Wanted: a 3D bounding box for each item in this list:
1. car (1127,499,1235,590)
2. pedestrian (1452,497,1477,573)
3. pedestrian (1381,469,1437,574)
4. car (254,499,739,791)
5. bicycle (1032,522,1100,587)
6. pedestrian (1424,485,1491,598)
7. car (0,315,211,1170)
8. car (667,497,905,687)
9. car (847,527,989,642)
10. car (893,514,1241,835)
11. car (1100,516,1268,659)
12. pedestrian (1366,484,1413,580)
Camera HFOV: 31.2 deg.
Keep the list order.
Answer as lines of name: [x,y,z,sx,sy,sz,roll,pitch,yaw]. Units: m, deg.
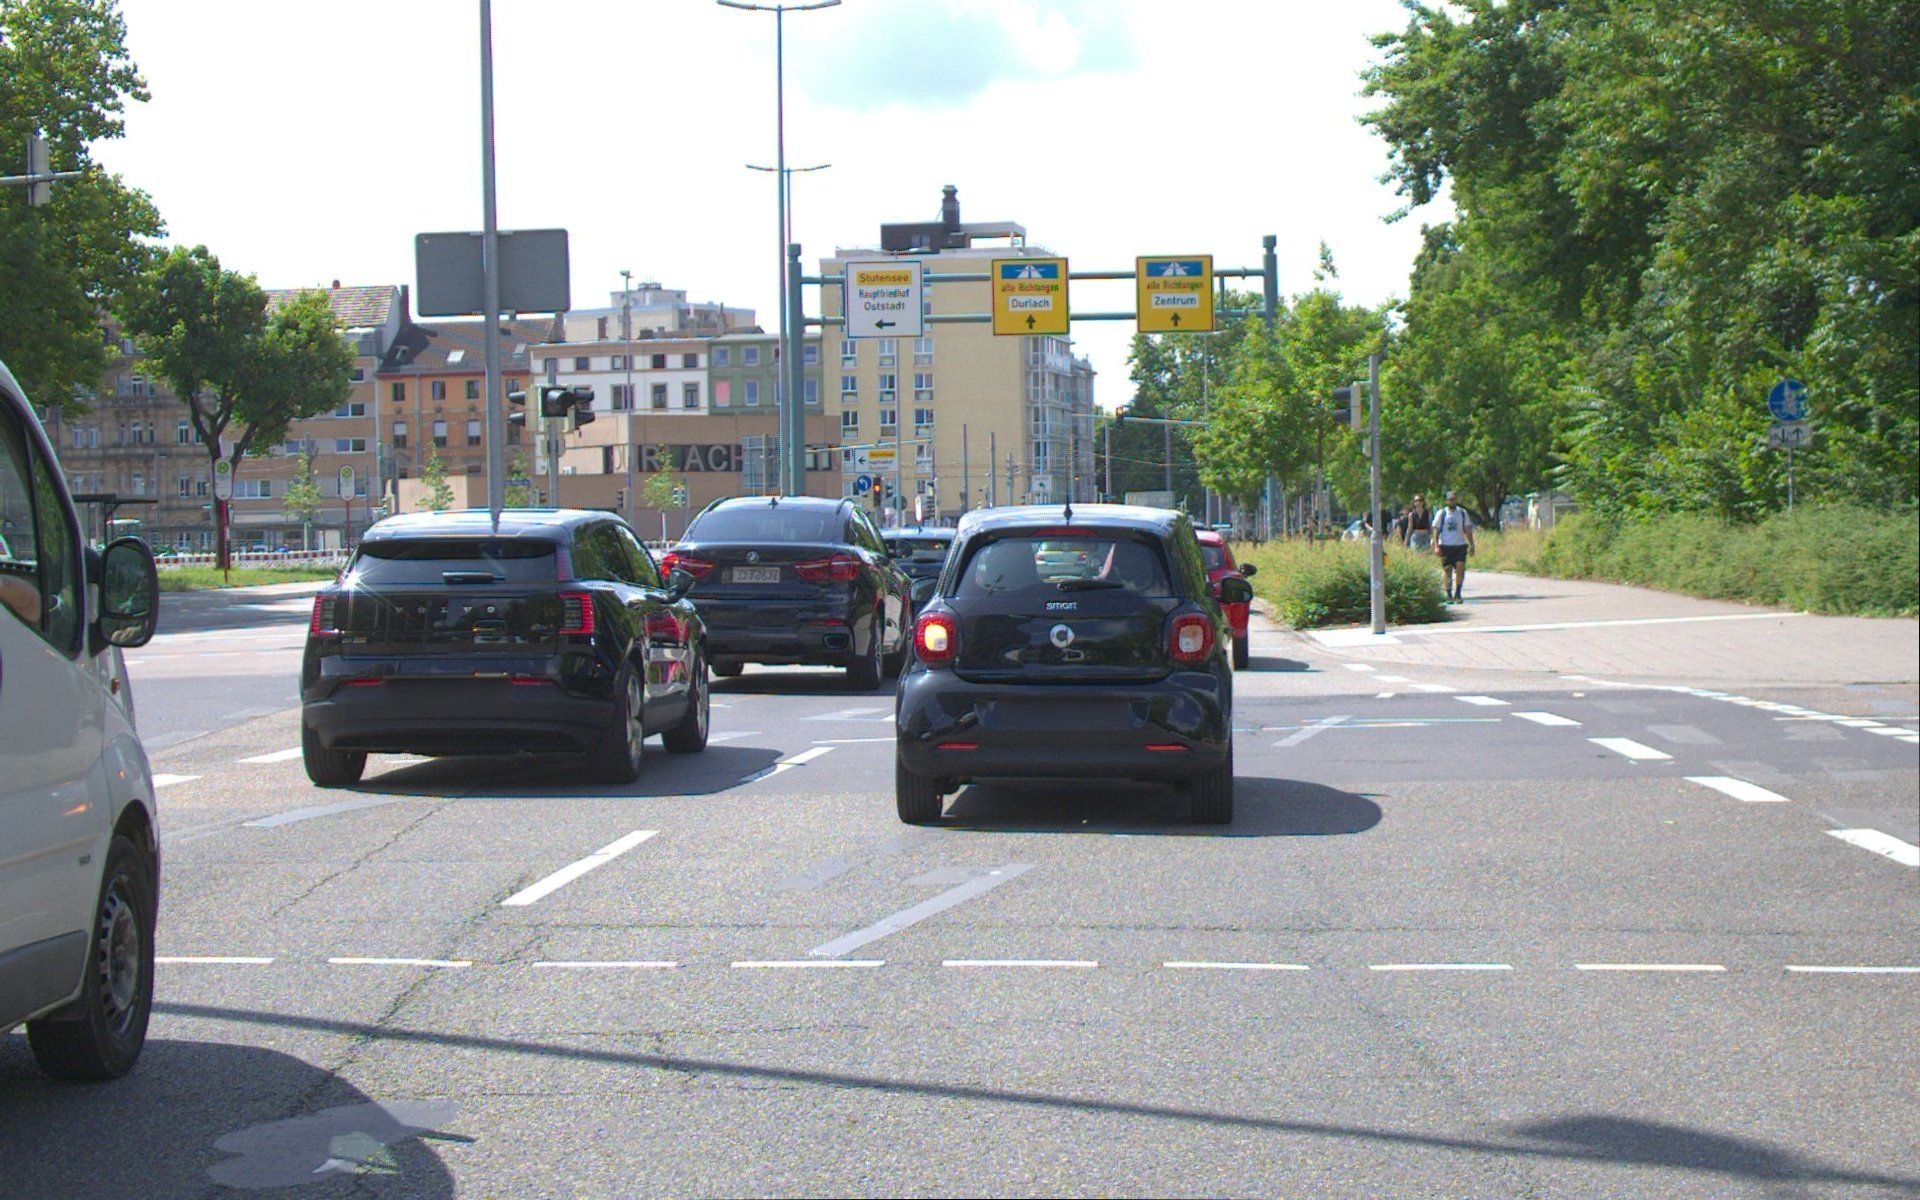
car: [3.582,-0.930,56.124,1.611,1.406,3.517,1,2,2]
pedestrian: [12.567,-1.615,85.686,0.501,1.884,0.560,1,1,-1]
pedestrian: [8.088,-1.410,61.961,0.838,1.861,1.019,-1,1,0]
car: [-2.624,0.167,20.730,2.017,1.524,4.887,0,2,3]
bicycle: [3.347,-1.449,109.213,1.993,2.007,4.000,1,1,0]
pedestrian: [7.631,-0.899,52.732,0.851,1.695,0.931,-2,1,2]
car: [-3.194,0.338,7.351,2.006,1.948,5.194,0,1,0]
car: [-1.506,-0.127,31.203,1.827,1.595,4.393,0,2,2]
car: [-0.483,-0.223,42.543,1.611,1.320,3.517,-1,2,2]
car: [0.544,0.304,17.771,1.611,1.479,3.517,0,2,2]
car: [2.320,-0.170,36.330,1.611,1.406,3.517,1,2,2]
pedestrian: [8.873,-1.408,71.083,0.838,1.962,0.861,-1,1,0]
